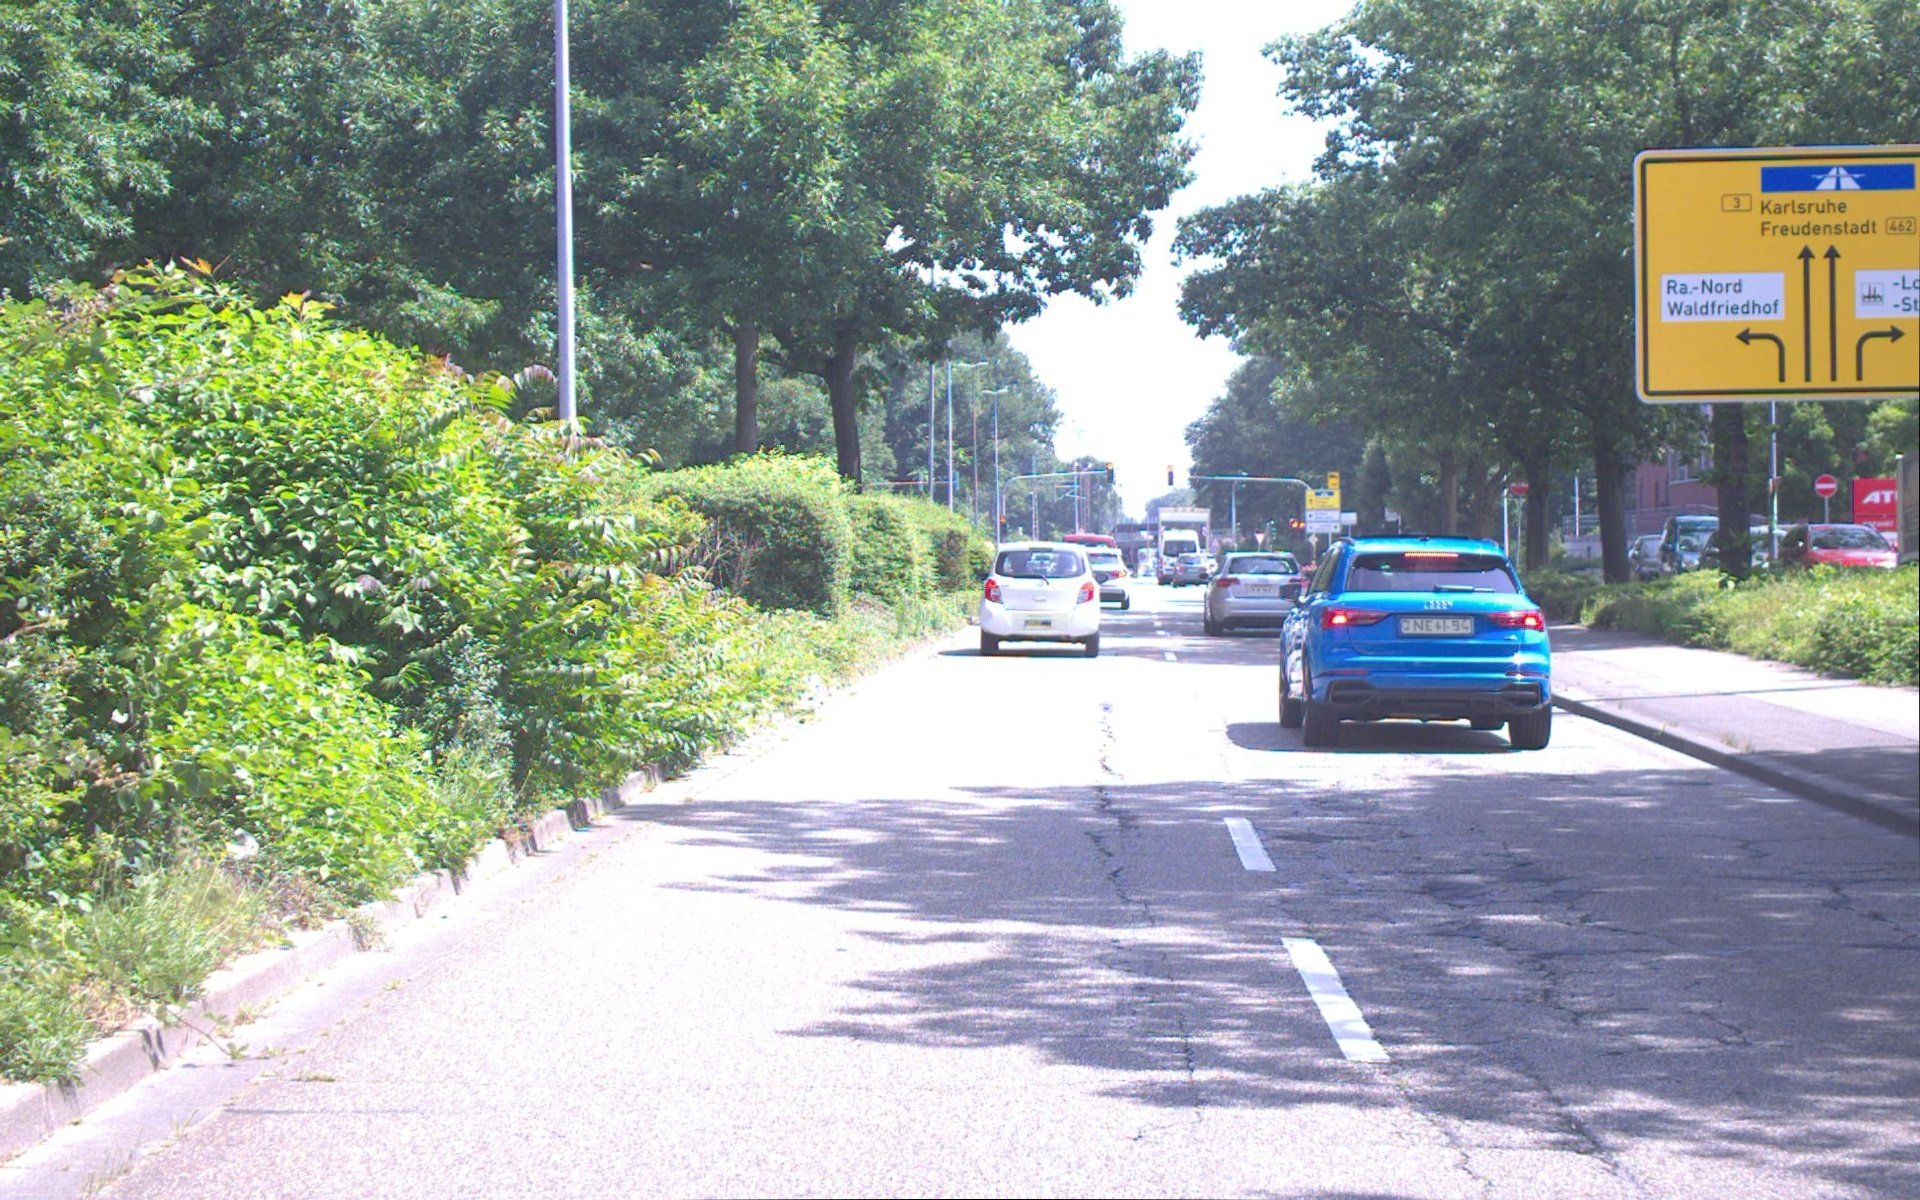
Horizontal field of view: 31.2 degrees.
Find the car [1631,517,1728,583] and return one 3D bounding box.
[{"bbox_3d":[16.182,-1.100,77.470,1.701,1.420,4.653,-1,0,6],"label":"car"}]

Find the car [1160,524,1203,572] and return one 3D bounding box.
[{"bbox_3d":[10.669,-2.530,165.972,1.994,2.248,4.000,-1,1,3],"label":"car"}]

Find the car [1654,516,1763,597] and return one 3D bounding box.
[{"bbox_3d":[15.674,-0.902,72.102,1.701,1.632,3.905,-1,0,4],"label":"car"}]

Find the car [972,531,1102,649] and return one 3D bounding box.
[{"bbox_3d":[1.029,-0.144,47.045,1.638,1.547,3.325,0,0,-1],"label":"car"}]

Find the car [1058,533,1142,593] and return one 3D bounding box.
[{"bbox_3d":[3.289,-0.852,80.101,1.885,1.349,4.000,0,0,3],"label":"car"}]

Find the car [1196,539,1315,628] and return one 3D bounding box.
[{"bbox_3d":[5.010,-0.284,58.653,1.866,1.468,4.000,0,0,3],"label":"car"}]

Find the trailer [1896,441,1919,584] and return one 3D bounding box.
[{"bbox_3d":[14.518,-1.241,48.285,1.701,2.048,5.483,-1,1,5],"label":"trailer"}]

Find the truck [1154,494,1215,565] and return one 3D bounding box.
[{"bbox_3d":[11.477,-3.596,176.444,2.932,3.490,9.157,-1,1,3],"label":"truck"}]

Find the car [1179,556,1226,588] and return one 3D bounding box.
[{"bbox_3d":[10.604,-1.255,150.529,1.866,1.305,4.000,-1,1,2],"label":"car"}]

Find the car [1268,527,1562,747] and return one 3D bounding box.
[{"bbox_3d":[3.484,0.255,27.045,1.808,1.587,4.349,0,0,1],"label":"car"}]

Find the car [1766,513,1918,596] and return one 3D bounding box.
[{"bbox_3d":[15.417,-0.808,60.255,1.700,1.375,4.324,-1,1,2],"label":"car"}]
